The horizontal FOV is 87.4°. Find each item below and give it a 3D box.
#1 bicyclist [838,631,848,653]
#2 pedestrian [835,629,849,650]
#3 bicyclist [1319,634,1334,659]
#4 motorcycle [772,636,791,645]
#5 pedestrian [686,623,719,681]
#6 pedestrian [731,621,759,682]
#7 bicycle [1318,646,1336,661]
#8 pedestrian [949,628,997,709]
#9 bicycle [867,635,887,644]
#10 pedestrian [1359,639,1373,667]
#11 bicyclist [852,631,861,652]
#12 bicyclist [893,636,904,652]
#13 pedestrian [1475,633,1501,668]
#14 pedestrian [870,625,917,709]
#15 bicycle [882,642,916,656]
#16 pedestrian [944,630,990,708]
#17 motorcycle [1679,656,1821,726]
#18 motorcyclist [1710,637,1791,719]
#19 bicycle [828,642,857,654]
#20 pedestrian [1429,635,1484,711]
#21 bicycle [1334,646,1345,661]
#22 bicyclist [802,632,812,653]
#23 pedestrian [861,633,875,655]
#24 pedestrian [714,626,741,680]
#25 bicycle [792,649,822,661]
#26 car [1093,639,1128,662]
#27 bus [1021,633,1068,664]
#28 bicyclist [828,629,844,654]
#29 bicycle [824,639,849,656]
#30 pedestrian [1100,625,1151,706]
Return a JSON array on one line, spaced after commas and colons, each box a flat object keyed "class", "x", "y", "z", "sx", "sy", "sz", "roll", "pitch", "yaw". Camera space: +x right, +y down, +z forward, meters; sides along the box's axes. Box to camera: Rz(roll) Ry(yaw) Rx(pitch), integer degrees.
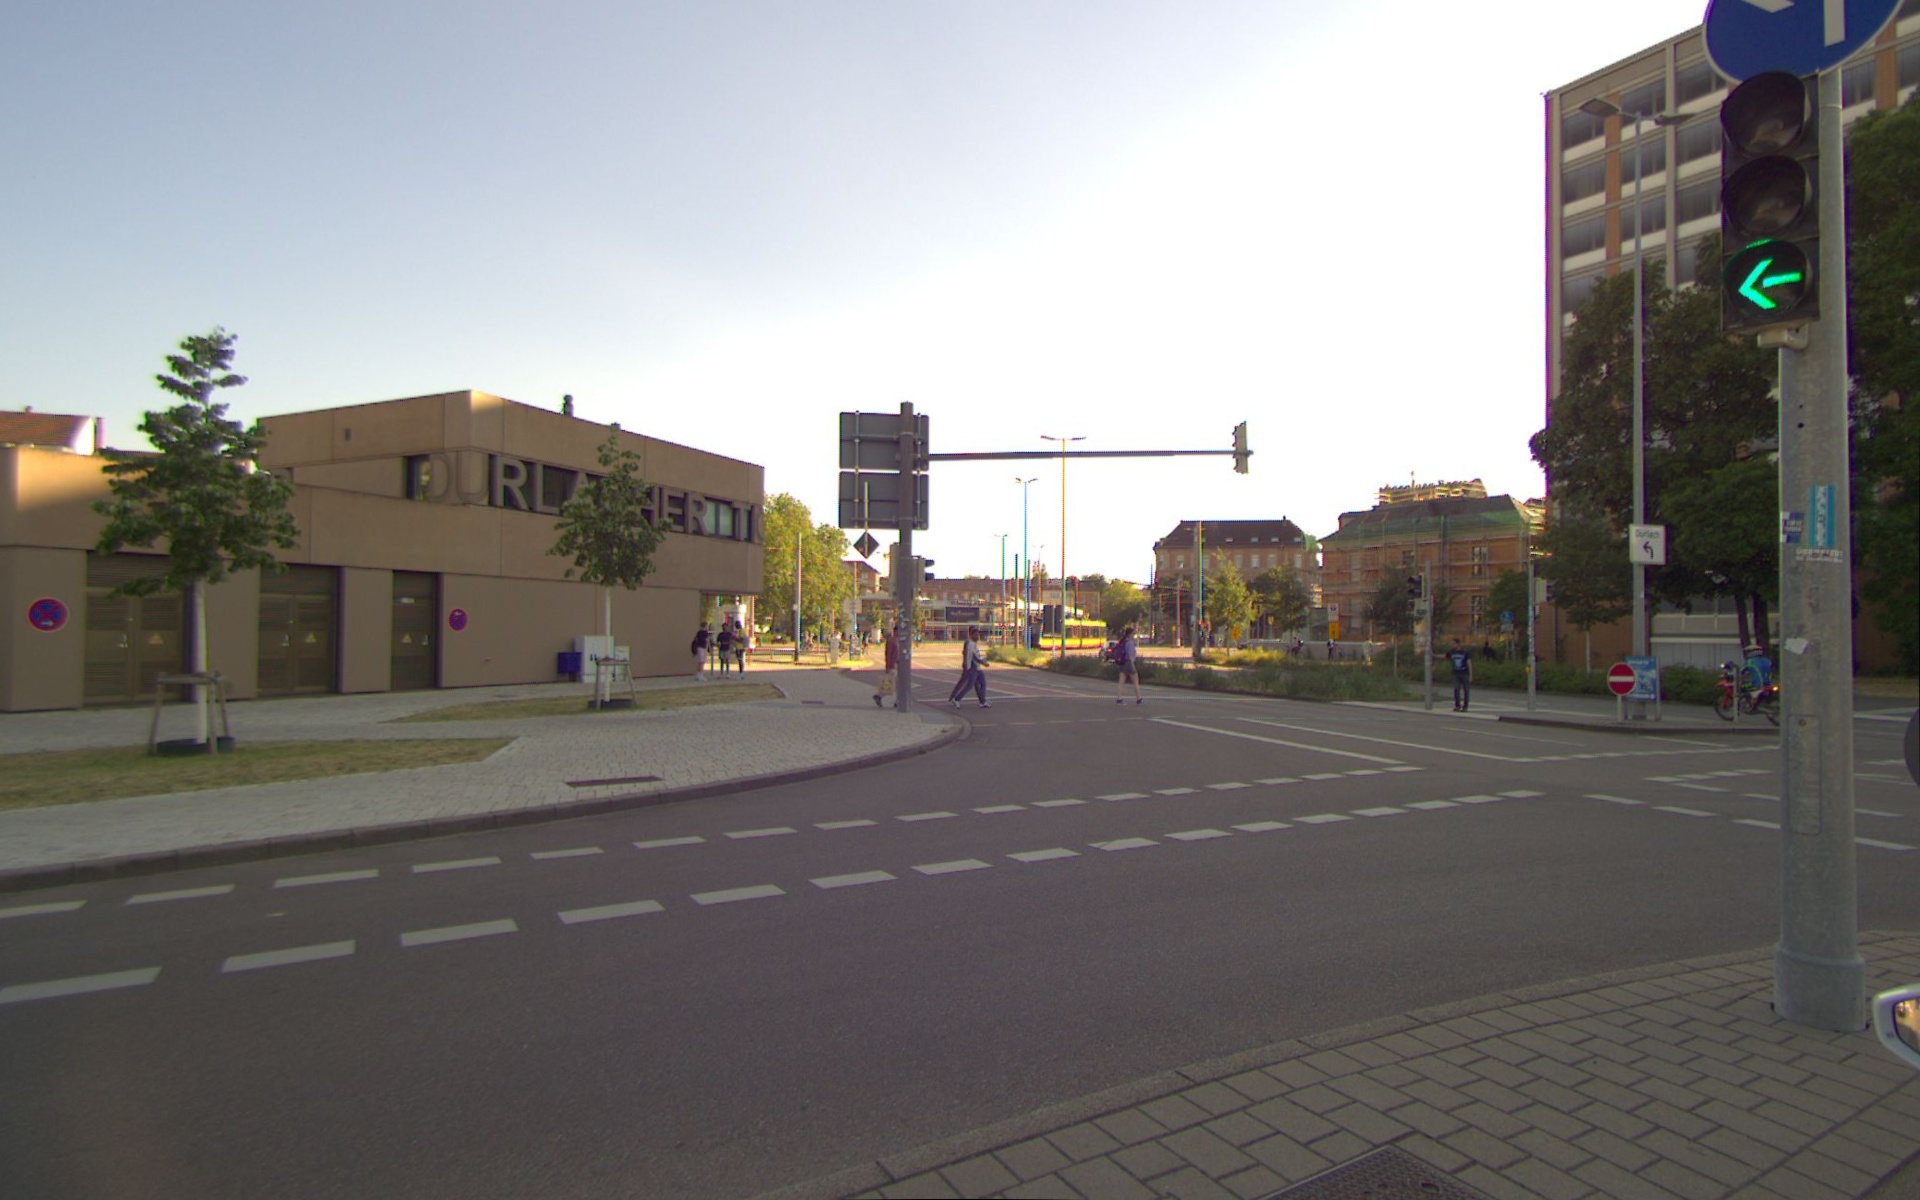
[{"class": "bicyclist", "x": -9.775, "y": 3.508, "z": 83.935, "sx": 0.641, "sy": 1.713, "sz": 0.856, "roll": 2, "pitch": 0, "yaw": -20}, {"class": "pedestrian", "x": -9.478, "y": 3.147, "z": 80.733, "sx": 1.077, "sy": 1.628, "sz": 0.697, "roll": 2, "pitch": 0, "yaw": -12}, {"class": "bicyclist", "x": 26.461, "y": 3.361, "z": 72.451, "sx": 0.773, "sy": 1.809, "sz": 0.894, "roll": -1, "pitch": -2, "yaw": 7}, {"class": "motorcycle", "x": -21.182, "y": 4.805, "z": 119.149, "sx": 2.253, "sy": 1.068, "sz": 0.685, "roll": 2, "pitch": 0, "yaw": -15}, {"class": "pedestrian", "x": -8.101, "y": 1.622, "z": 31.581, "sx": 0.722, "sy": 1.754, "sz": 0.664, "roll": 2, "pitch": 0, "yaw": 23}, {"class": "pedestrian", "x": -6.842, "y": 1.628, "z": 31.939, "sx": 0.704, "sy": 1.860, "sz": 0.639, "roll": 2, "pitch": 0, "yaw": -1}, {"class": "bicycle", "x": 26.491, "y": 3.875, "z": 72.511, "sx": 0.776, "sy": 1.052, "sz": 1.964, "roll": -1, "pitch": -3, "yaw": 7}, {"class": "pedestrian", "x": 0.281, "y": 1.509, "z": 22.345, "sx": 0.911, "sy": 1.764, "sz": 0.755, "roll": 1, "pitch": -2, "yaw": -12}, {"class": "bicycle", "x": -9.999, "y": 4.721, "z": 120.472, "sx": 2.266, "sy": 0.972, "sz": 0.857, "roll": -1, "pitch": 1, "yaw": -17}, {"class": "pedestrian", "x": 25.371, "y": 3.295, "z": 62.771, "sx": 0.711, "sy": 1.680, "sz": 0.718, "roll": 3, "pitch": -2, "yaw": 18}, {"class": "bicyclist", "x": -8.876, "y": 3.540, "z": 86.049, "sx": 0.641, "sy": 1.713, "sz": 0.857, "roll": 2, "pitch": 0, "yaw": -16}, {"class": "bicyclist", "x": -7.573, "y": 5.407, "z": 123.861, "sx": 1.057, "sy": 1.926, "sz": 1.118, "roll": 2, "pitch": 0, "yaw": -19}, {"class": "pedestrian", "x": 25.506, "y": 2.436, "z": 48.522, "sx": 0.794, "sy": 1.680, "sz": 0.789, "roll": 0, "pitch": -1, "yaw": -9}, {"class": "pedestrian", "x": -1.430, "y": 1.425, "z": 21.538, "sx": 0.911, "sy": 1.764, "sz": 0.786, "roll": 1, "pitch": -2, "yaw": -12}, {"class": "bicycle", "x": -7.542, "y": 6.050, "z": 123.892, "sx": 3.939, "sy": 1.712, "sz": 1.134, "roll": 2, "pitch": 0, "yaw": -20}, {"class": "pedestrian", "x": 0.152, "y": 1.582, "z": 23.190, "sx": 0.911, "sy": 1.764, "sz": 0.755, "roll": 1, "pitch": -2, "yaw": -12}, {"class": "motorcycle", "x": 17.465, "y": 1.984, "z": 22.336, "sx": 1.078, "sy": 1.395, "sz": 2.654, "roll": 2, "pitch": -2, "yaw": 0}, {"class": "motorcyclist", "x": 17.482, "y": 1.708, "z": 22.238, "sx": 1.078, "sy": 1.743, "sz": 0.937, "roll": 2, "pitch": -2, "yaw": 0}, {"class": "bicycle", "x": -9.796, "y": 4.009, "z": 83.932, "sx": 2.269, "sy": 0.918, "sz": 0.856, "roll": 2, "pitch": 0, "yaw": -21}, {"class": "pedestrian", "x": 11.476, "y": 1.682, "z": 23.221, "sx": 0.884, "sy": 1.707, "sz": 0.746, "roll": 1, "pitch": -1, "yaw": -12}, {"class": "bicycle", "x": 27.467, "y": 3.850, "z": 72.641, "sx": 0.616, "sy": 1.052, "sz": 1.962, "roll": -2, "pitch": -3, "yaw": 24}, {"class": "bicyclist", "x": -13.038, "y": 3.592, "z": 85.382, "sx": 0.735, "sy": 1.713, "sz": 0.858, "roll": 2, "pitch": 0, "yaw": -14}, {"class": "pedestrian", "x": -7.277, "y": 3.449, "z": 79.280, "sx": 0.822, "sy": 1.693, "sz": 0.690, "roll": 2, "pitch": -2, "yaw": -41}, {"class": "pedestrian", "x": -7.524, "y": 1.699, "z": 32.505, "sx": 0.626, "sy": 1.711, "sz": 0.550, "roll": 2, "pitch": 0, "yaw": 11}, {"class": "bicycle", "x": -13.024, "y": 4.669, "z": 85.388, "sx": 2.459, "sy": 0.886, "sz": 0.857, "roll": 2, "pitch": 0, "yaw": -15}, {"class": "car", "x": 10.459, "y": 3.525, "z": 70.109, "sx": 1.771, "sy": 1.463, "sz": 3.978, "roll": 2, "pitch": -2, "yaw": -1}, {"class": "bus", "x": 9.211, "y": 5.149, "z": 108.694, "sx": 2.316, "sy": 2.921, "sz": 9.575, "roll": 2, "pitch": 0, "yaw": 22}, {"class": "bicyclist", "x": -9.199, "y": 3.096, "z": 74.544, "sx": 0.735, "sy": 1.856, "sz": 1.003, "roll": 2, "pitch": -3, "yaw": -36}, {"class": "bicycle", "x": -9.156, "y": 3.514, "z": 74.480, "sx": 0.735, "sy": 1.271, "sz": 2.531, "roll": 2, "pitch": -3, "yaw": -36}, {"class": "pedestrian", "x": 3.666, "y": 1.449, "z": 22.314, "sx": 0.911, "sy": 1.764, "sz": 0.755, "roll": 1, "pitch": -2, "yaw": -12}]
